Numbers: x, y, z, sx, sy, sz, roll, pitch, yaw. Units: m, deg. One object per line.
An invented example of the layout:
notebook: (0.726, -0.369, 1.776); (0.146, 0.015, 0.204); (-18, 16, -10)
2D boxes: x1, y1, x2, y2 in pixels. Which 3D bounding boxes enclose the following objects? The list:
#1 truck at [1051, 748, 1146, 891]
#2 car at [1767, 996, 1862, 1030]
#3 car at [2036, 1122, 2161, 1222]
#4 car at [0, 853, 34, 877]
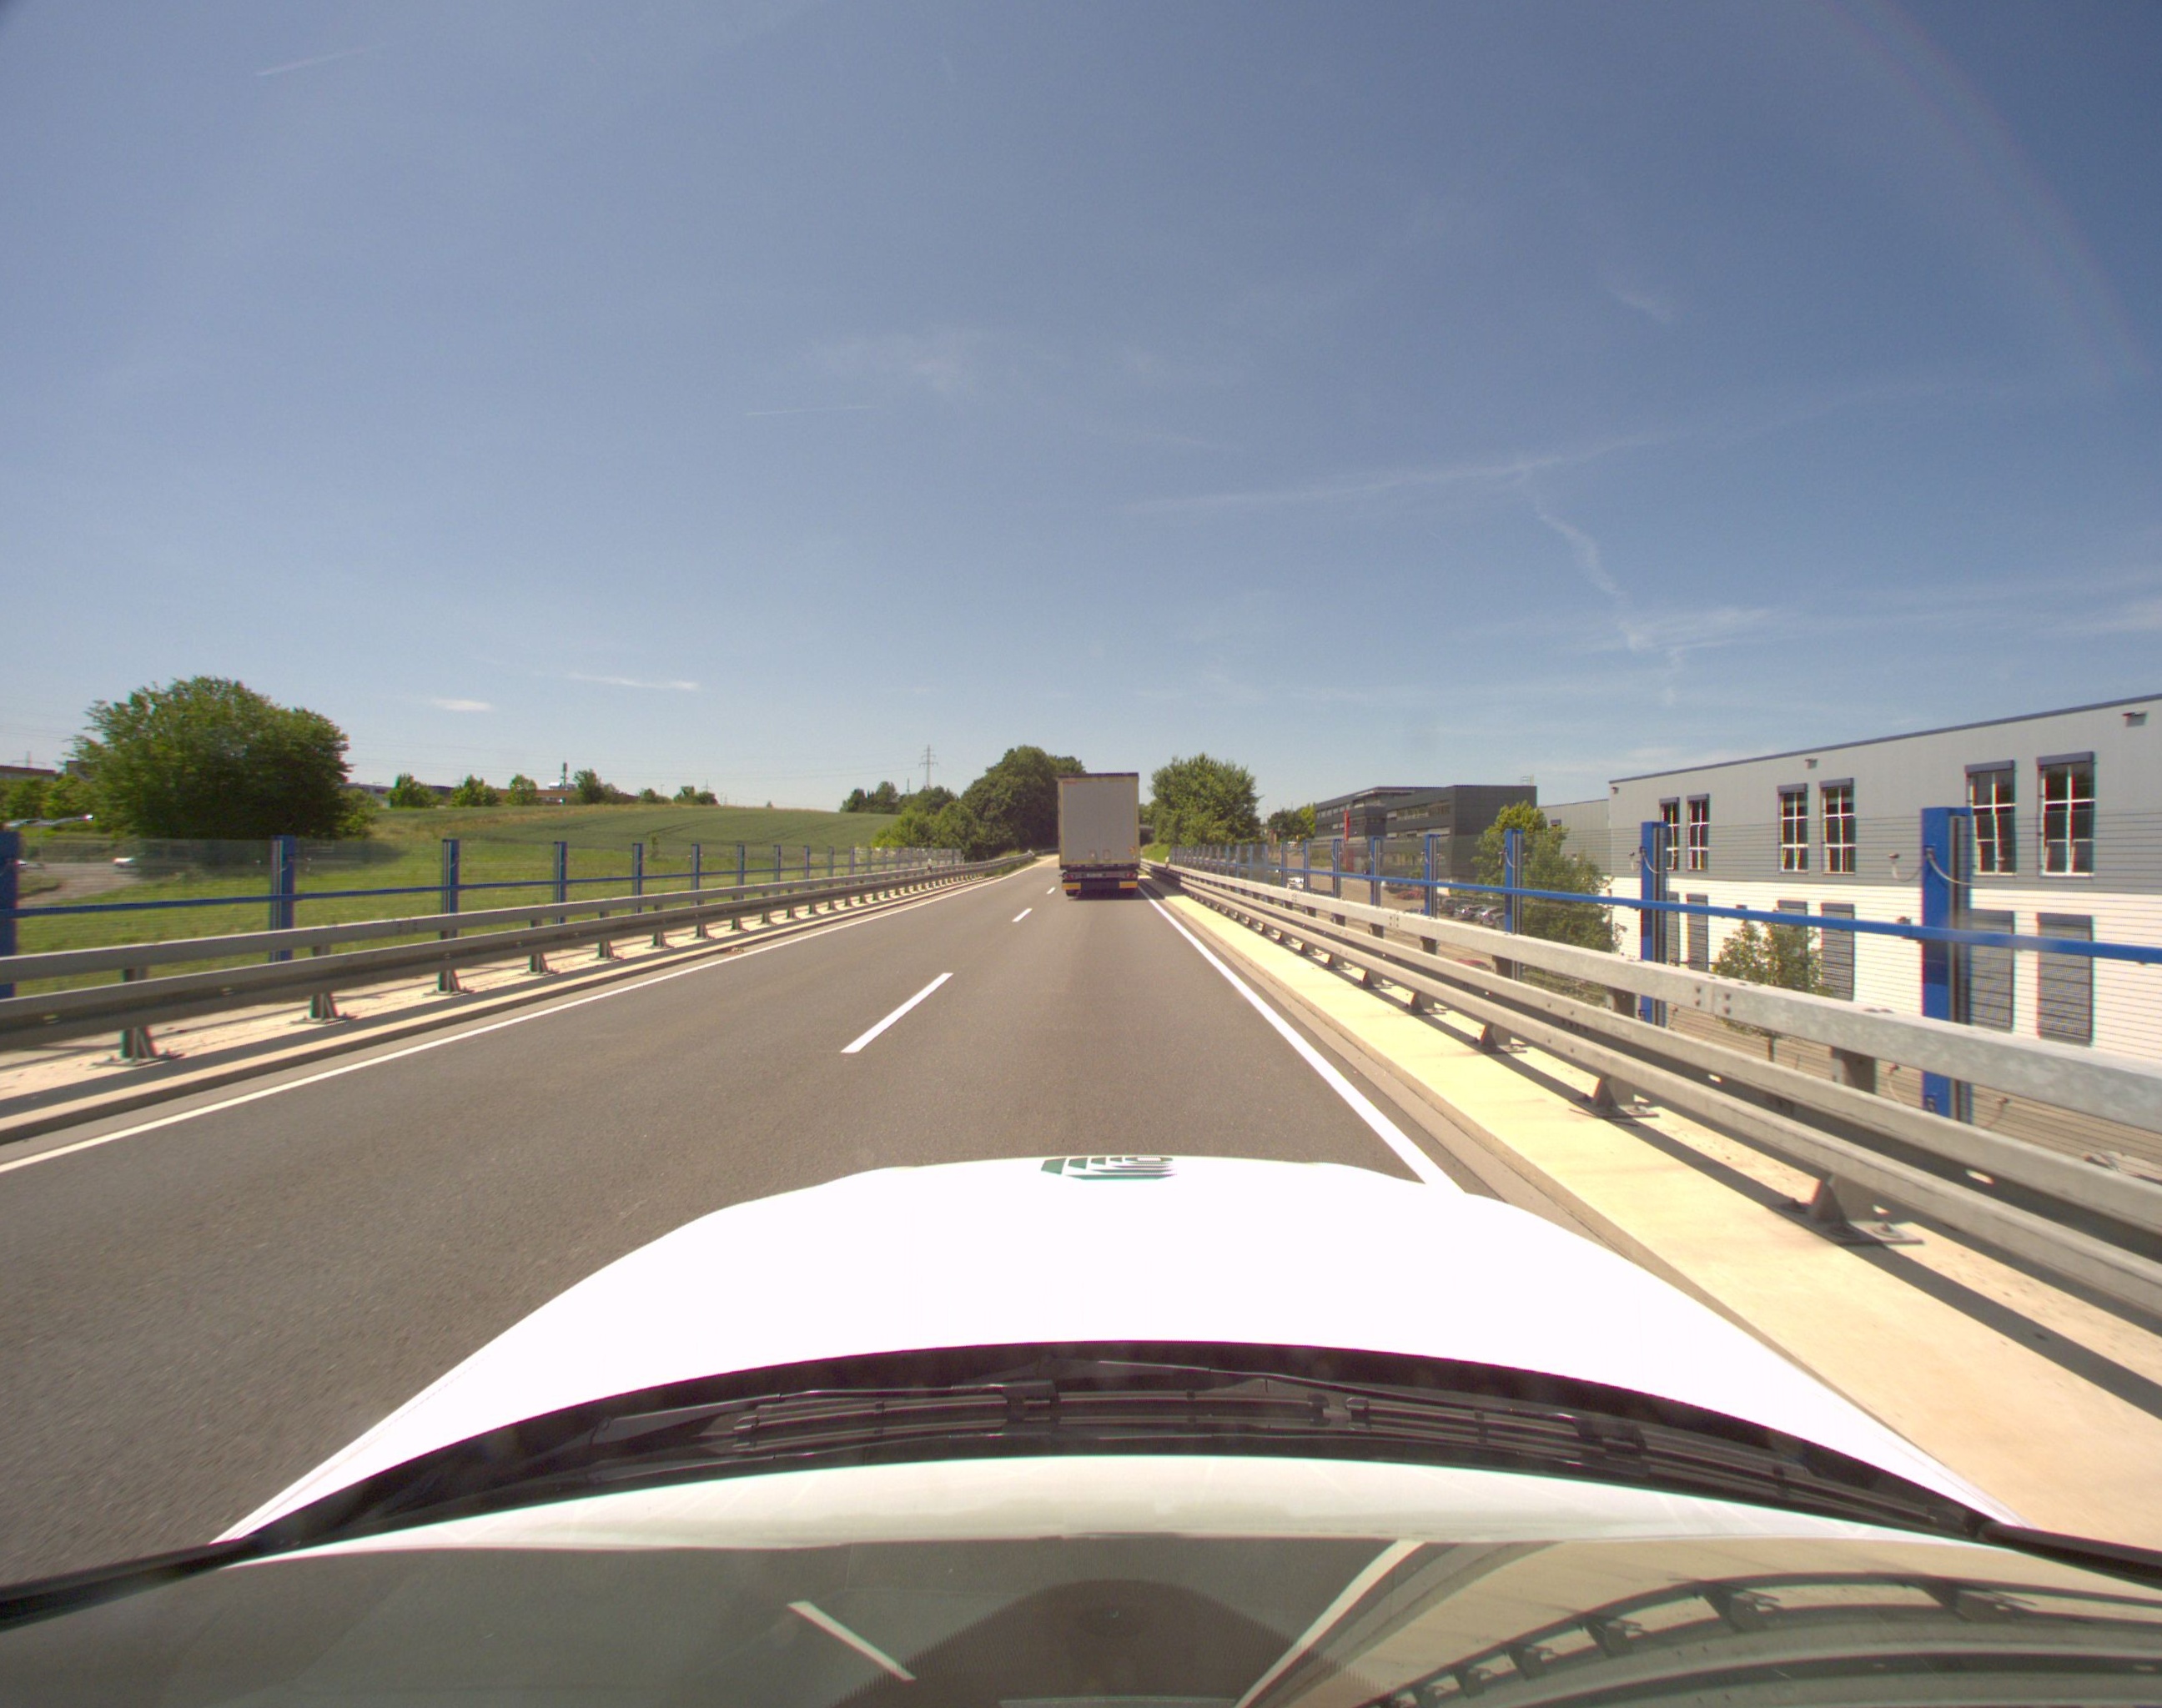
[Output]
truck: (0.645, -0.953, 30.064); (2.856, 4.360, 9.789); (-1, -1, 1)
car: (40.161, 8.720, 44.644); (3.654, 1.148, 1.513); (7, -1, 3)
car: (27.267, 8.313, 21.184); (1.706, 1.367, 4.023); (6, -1, 28)
car: (-84.463, 0.831, 63.314); (3.968, 1.602, 1.836); (3, 4, 5)
